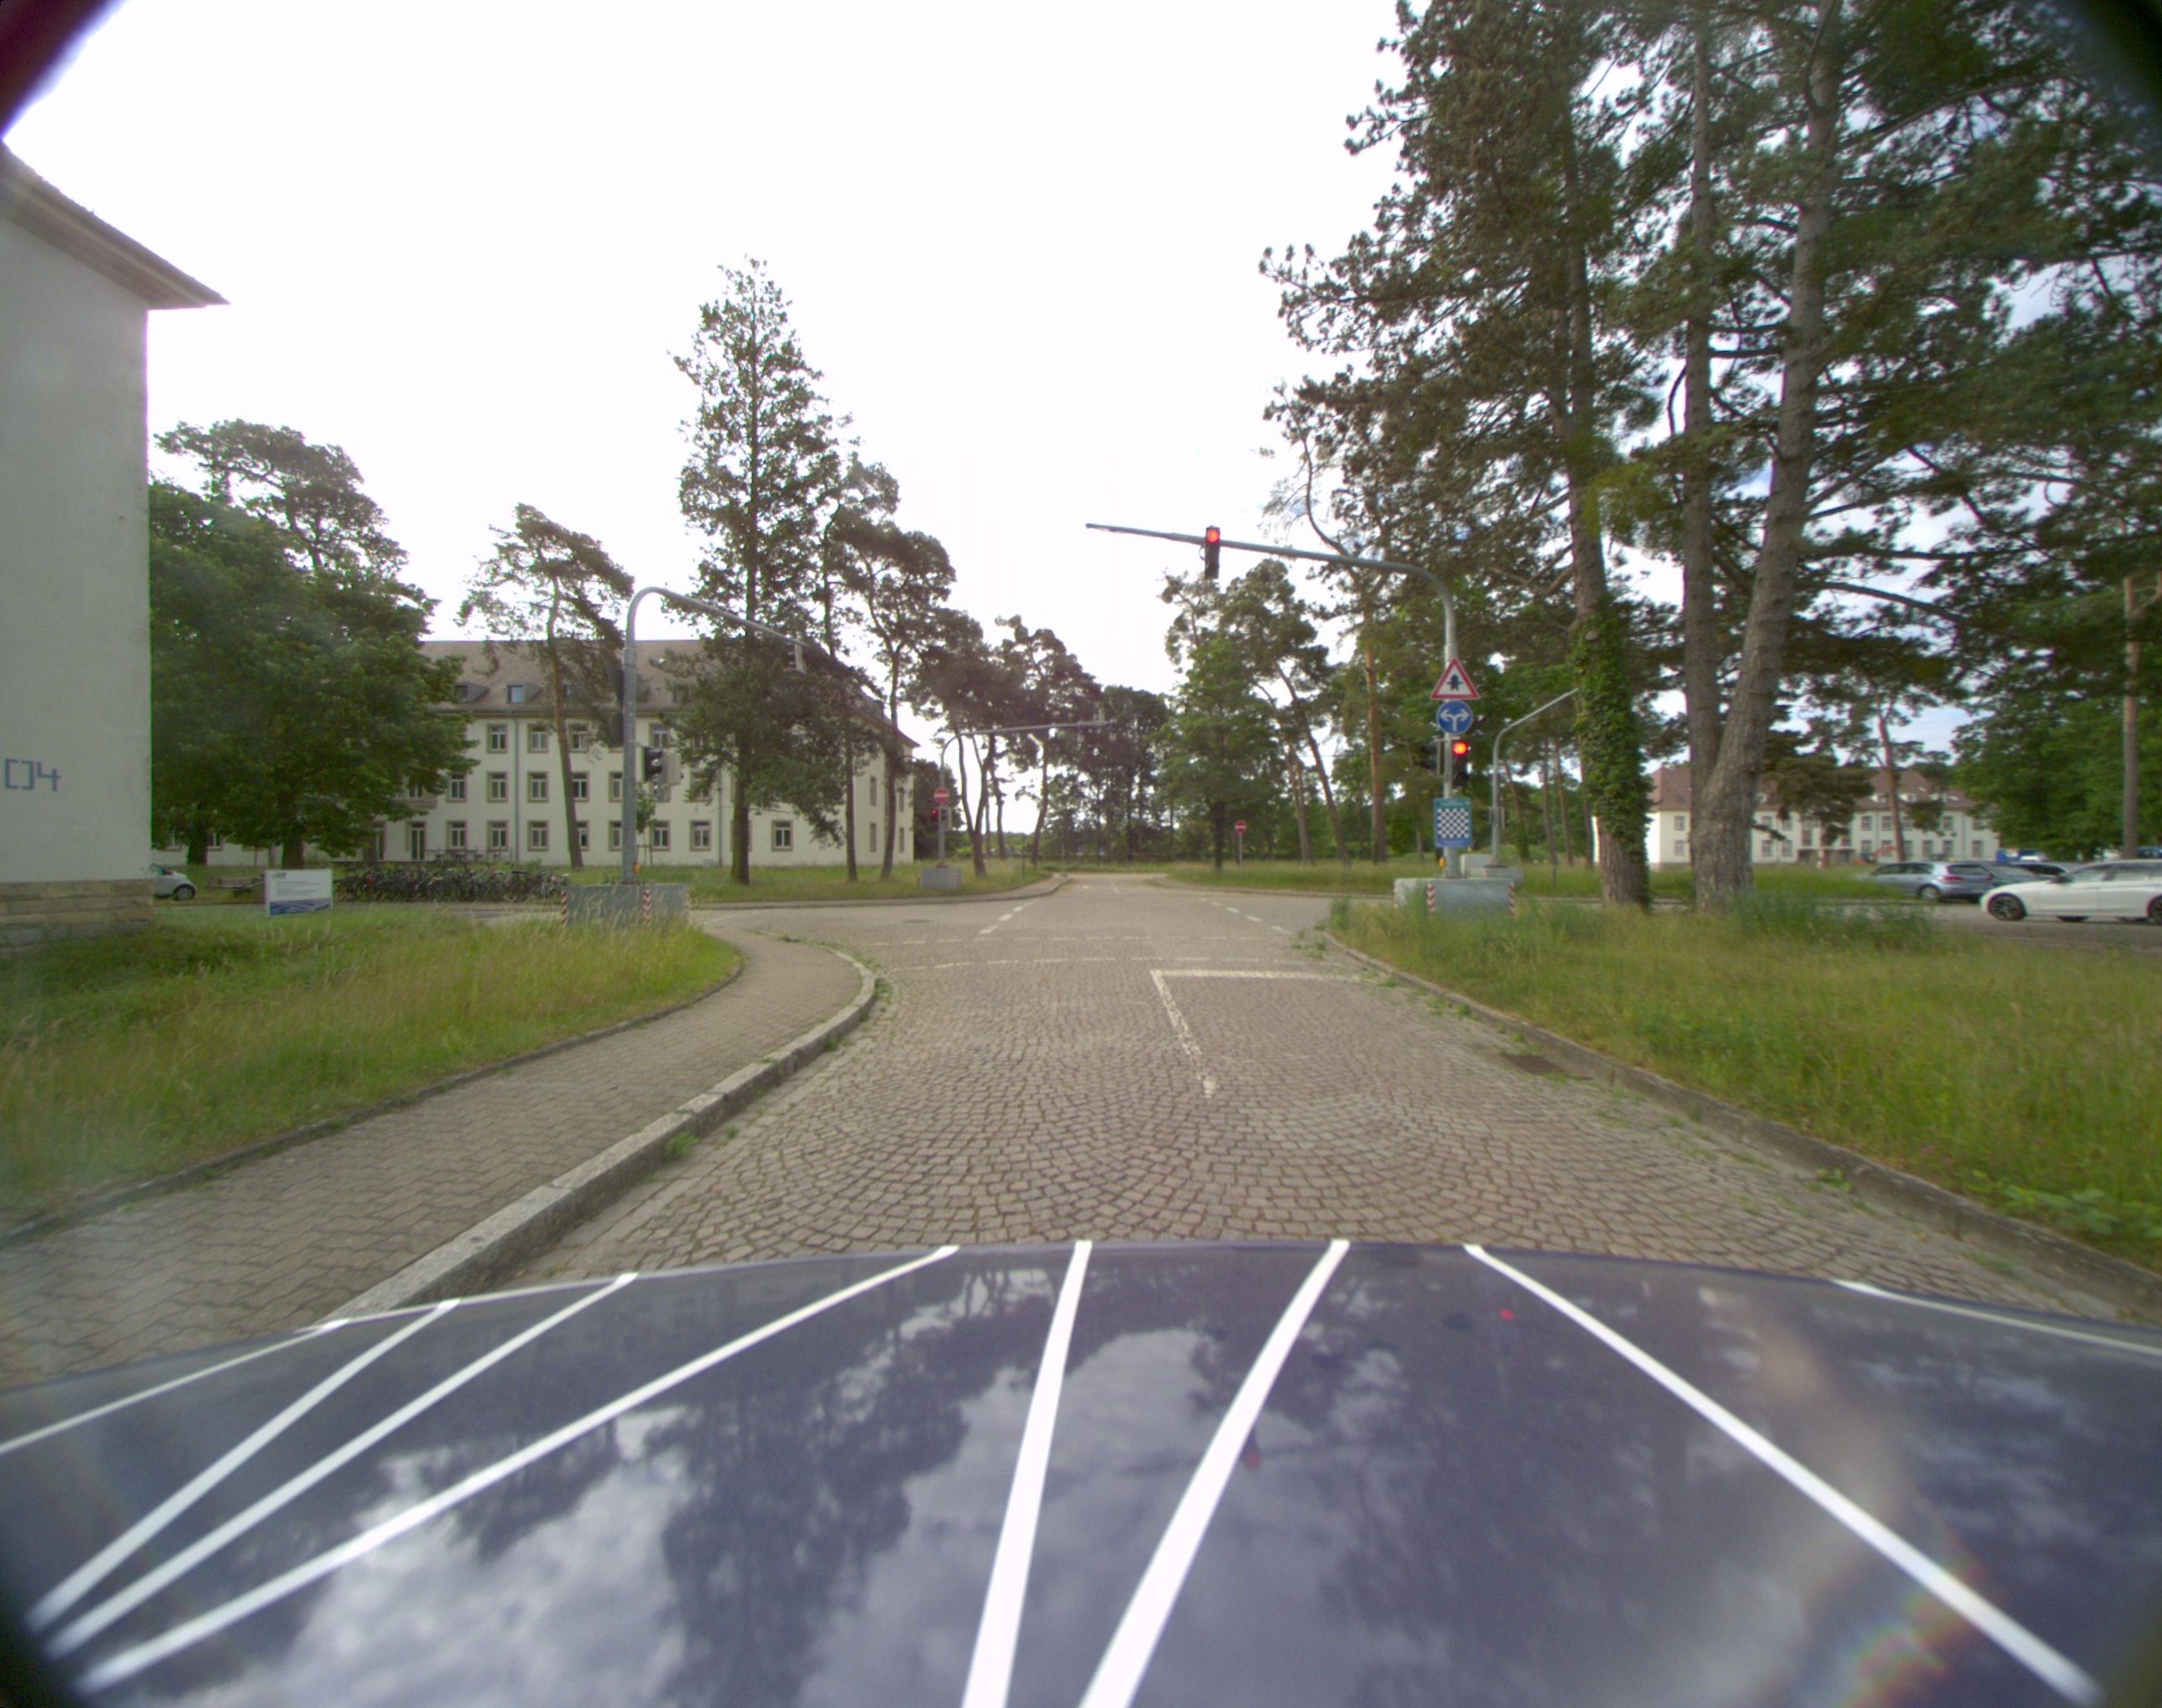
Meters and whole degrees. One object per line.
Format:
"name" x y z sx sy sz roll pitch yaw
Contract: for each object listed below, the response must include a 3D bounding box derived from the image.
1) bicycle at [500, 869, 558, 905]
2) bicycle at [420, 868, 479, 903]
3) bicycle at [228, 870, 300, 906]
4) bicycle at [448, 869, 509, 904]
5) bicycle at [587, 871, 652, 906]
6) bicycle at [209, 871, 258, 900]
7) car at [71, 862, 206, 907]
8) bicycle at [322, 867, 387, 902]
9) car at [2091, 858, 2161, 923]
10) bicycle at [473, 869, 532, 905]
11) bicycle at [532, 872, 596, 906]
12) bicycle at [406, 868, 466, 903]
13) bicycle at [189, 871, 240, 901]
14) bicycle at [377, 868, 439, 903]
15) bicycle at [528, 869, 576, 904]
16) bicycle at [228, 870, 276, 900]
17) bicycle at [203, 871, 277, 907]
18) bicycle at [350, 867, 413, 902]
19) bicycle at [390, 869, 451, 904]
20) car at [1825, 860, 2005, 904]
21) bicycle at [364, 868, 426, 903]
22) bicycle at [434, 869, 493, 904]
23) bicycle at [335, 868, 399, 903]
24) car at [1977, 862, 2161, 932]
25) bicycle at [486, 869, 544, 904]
"bicycle" -18.595 1.088 25.628 0.476 1.121 1.704 0 0 10
"bicycle" -21.414 1.062 25.799 0.448 1.121 1.731 0 0 5
"bicycle" -27.438 1.135 25.561 0.448 1.121 1.731 0 0 5
"bicycle" -20.357 1.084 25.709 0.447 1.121 1.732 0 0 10
"bicycle" -14.735 1.109 24.281 1.656 1.079 0.614 0 1 -2
"bicycle" -33.713 1.238 30.239 0.478 1.121 1.598 0 0 -14
"car" -32.512 1.021 26.304 1.344 1.461 2.661 0 0 1
"bicycle" -24.804 1.027 25.993 0.448 1.121 1.731 0 0 5
"car" 25.992 0.817 16.951 1.674 1.510 3.899 0 -2 -1
"bicycle" -19.563 1.095 25.739 0.447 1.121 1.732 0 0 10
"bicycle" -16.437 1.107 24.177 1.655 1.079 0.615 0 1 3
"bicycle" -21.896 1.057 25.839 0.448 1.121 1.731 0 0 5
"bicycle" -34.278 1.258 30.082 0.478 1.121 1.598 0 0 -14
"bicycle" -22.921 1.067 25.908 0.448 1.121 1.731 0 0 5
"bicycle" -17.966 1.098 25.847 0.476 1.121 1.657 0 0 0
"bicycle" -33.133 1.211 30.381 0.478 1.121 1.598 0 0 -14
"bicycle" -28.049 1.159 25.369 0.448 1.121 1.731 0 0 5
"bicycle" -23.865 1.034 25.957 0.448 1.121 1.731 0 0 5
"bicycle" -22.435 1.077 25.858 0.448 1.121 1.731 0 0 5
"car" 30.817 0.993 28.321 1.829 1.466 4.402 0 0 -1
"bicycle" -23.401 1.044 25.951 0.448 1.121 1.731 0 0 5
"bicycle" -20.905 1.071 25.766 0.448 1.121 1.731 0 0 5
"bicycle" -24.366 1.052 25.979 0.448 1.121 1.731 0 0 5
"car" 23.485 0.910 16.958 1.829 1.417 4.320 0 0 -1
"bicycle" -19.088 1.079 25.663 0.447 1.121 1.703 0 0 10
